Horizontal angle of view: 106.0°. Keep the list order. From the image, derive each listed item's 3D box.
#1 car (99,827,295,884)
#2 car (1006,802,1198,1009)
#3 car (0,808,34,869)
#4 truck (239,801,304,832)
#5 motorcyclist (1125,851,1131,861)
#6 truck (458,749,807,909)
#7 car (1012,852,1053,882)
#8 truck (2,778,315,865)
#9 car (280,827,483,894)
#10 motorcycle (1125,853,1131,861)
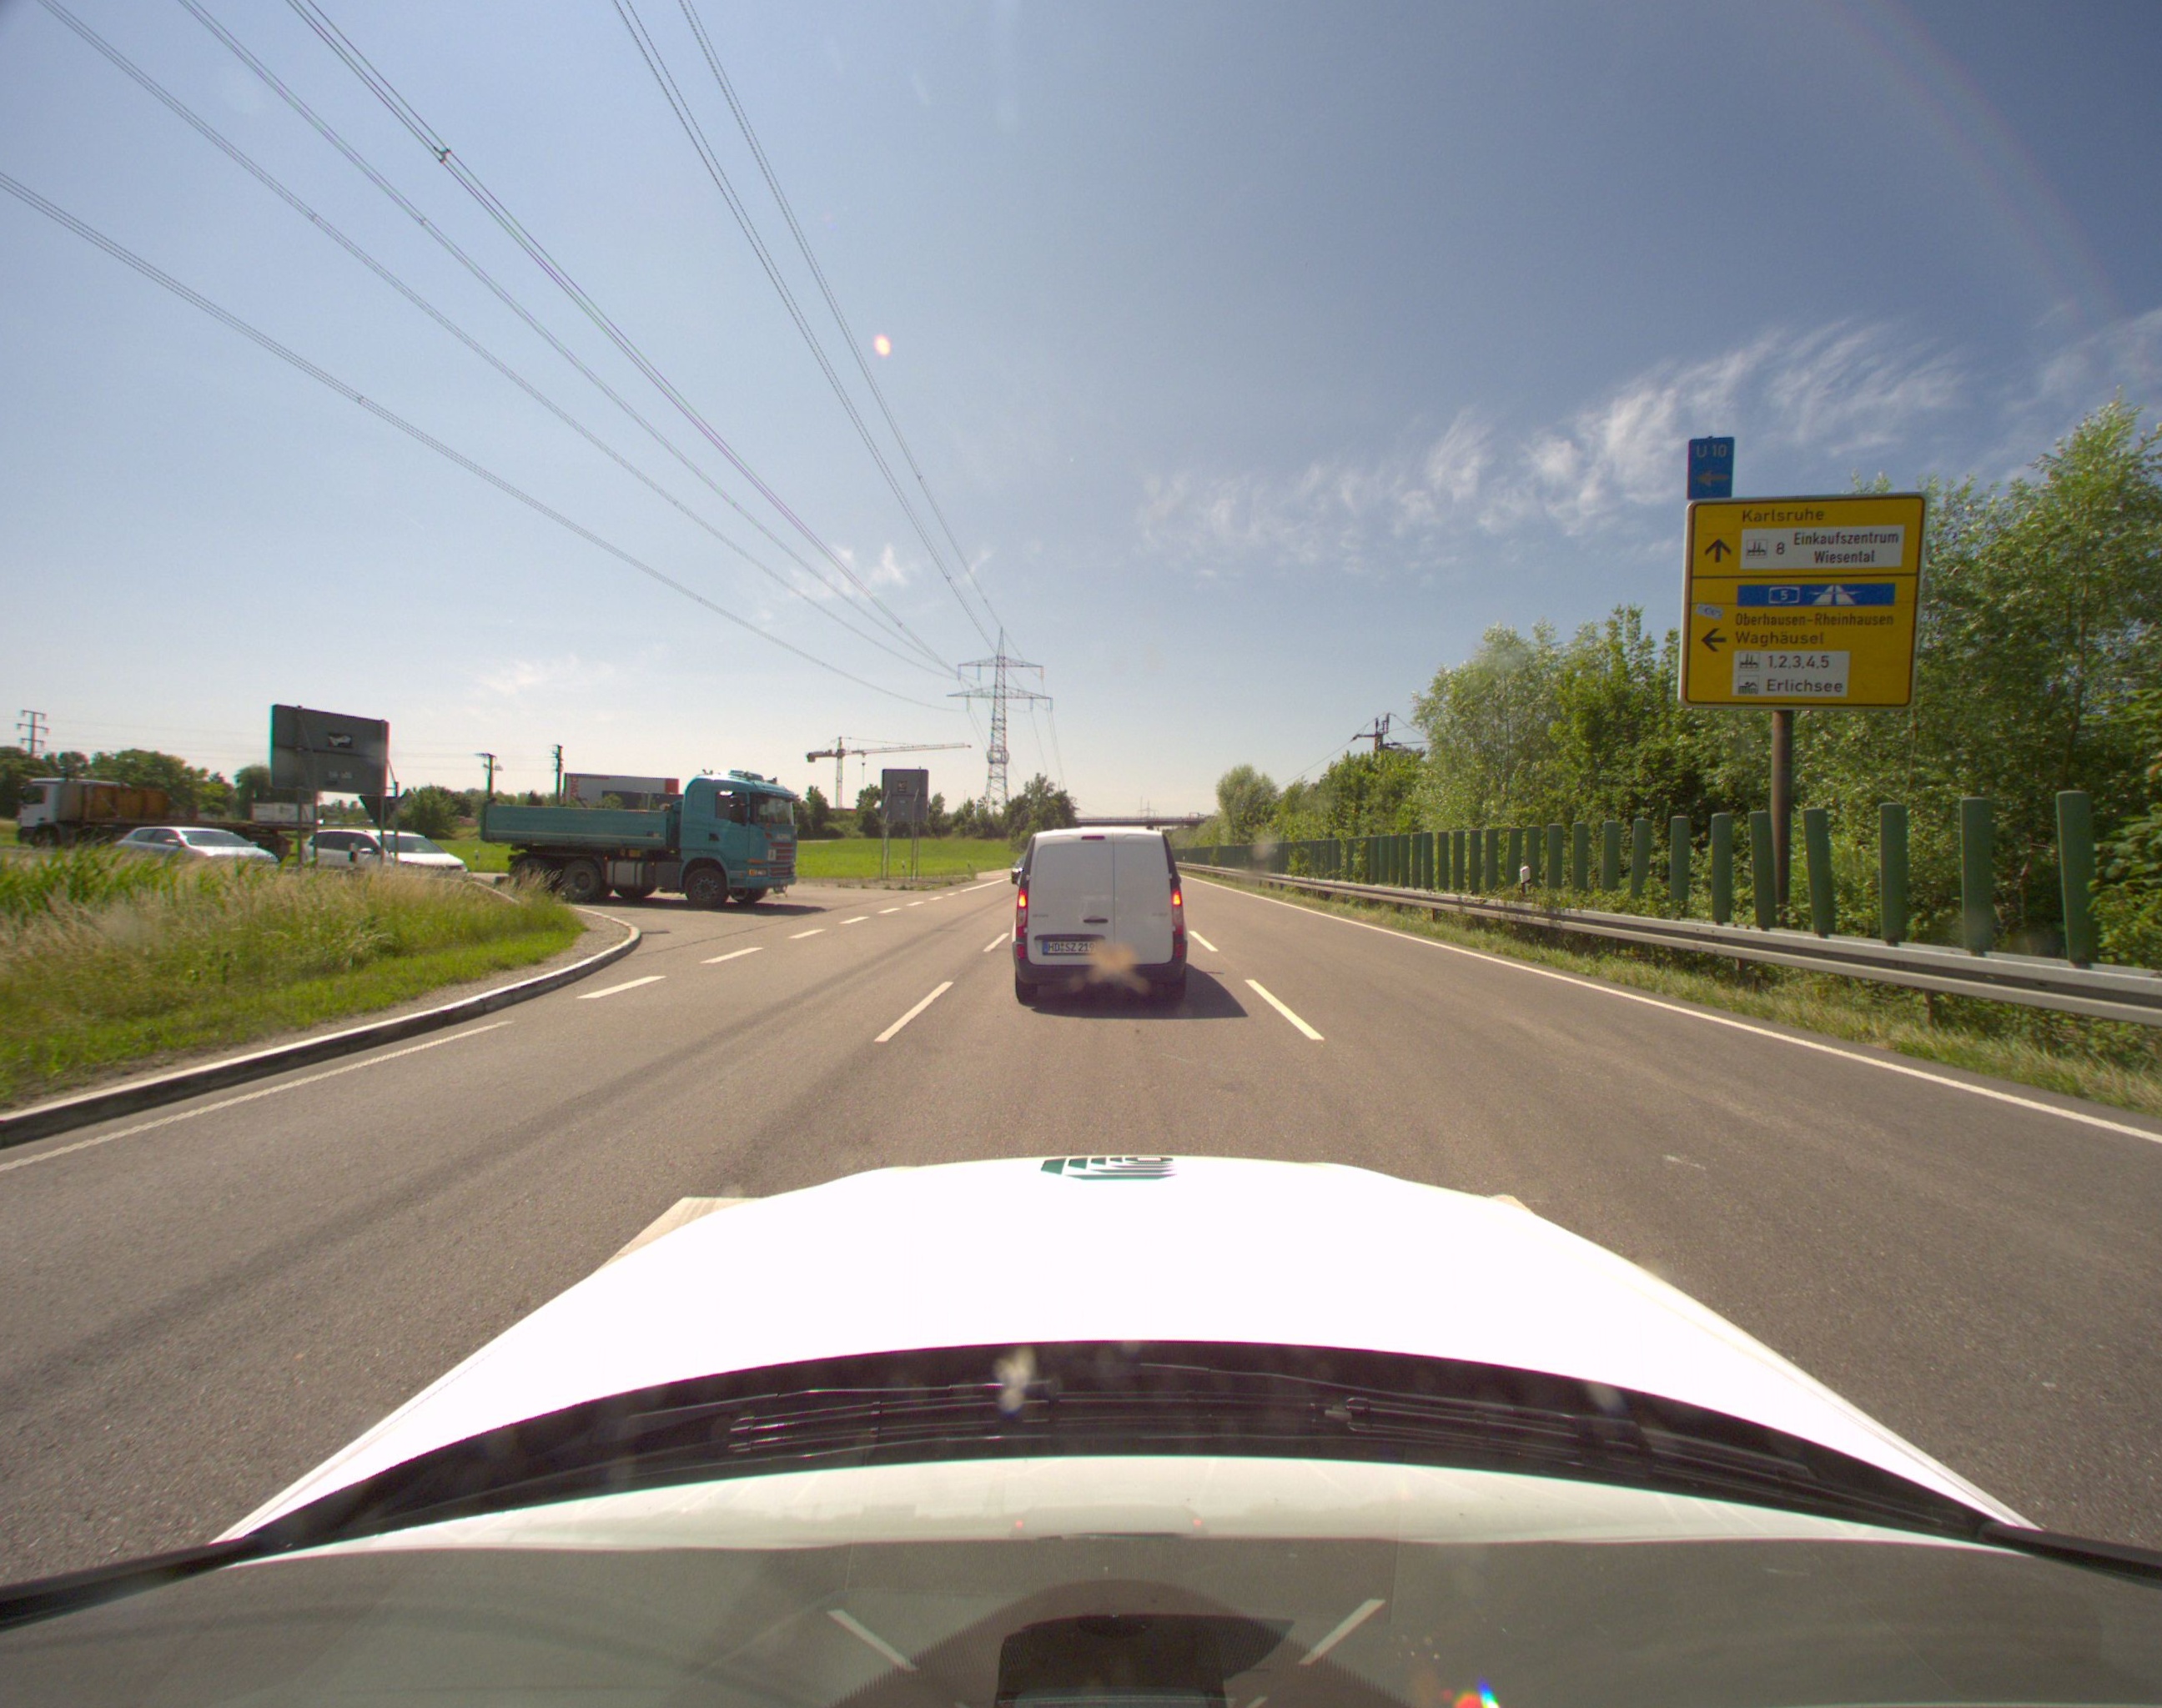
[{"bbox_3d":[-25.088,0.016,23.151,4.402,1.470,1.724,1,0,12],"label":"car"},{"bbox_3d":[0.246,0.490,9.809,1.820,1.971,4.001,0,0,1],"label":"car"},{"bbox_3d":[-35.702,-0.541,25.112,4.906,1.867,2.094,2,1,10],"label":"car"},{"bbox_3d":[-136.840,-6.215,137.936,3.697,4.646,13.127,1,0,-26],"label":"truck"},{"bbox_3d":[7.019,0.280,121.976,0.886,1.476,1.002,0,0,1],"label":"motorcyclist"},{"bbox_3d":[-11.745,-0.658,21.740,7.870,3.734,2.501,2,0,3],"label":"truck"},{"bbox_3d":[-2.431,0.658,41.912,1.775,1.464,4.001,0,0,1],"label":"car"},{"bbox_3d":[-36.582,-1.263,32.488,9.627,3.288,2.832,0,1,3],"label":"truck"},{"bbox_3d":[-18.989,0.142,22.171,4.507,1.612,1.976,2,0,16],"label":"car"},{"bbox_3d":[7.001,0.450,122.068,0.788,1.157,1.901,0,0,0],"label":"motorcycle"}]
